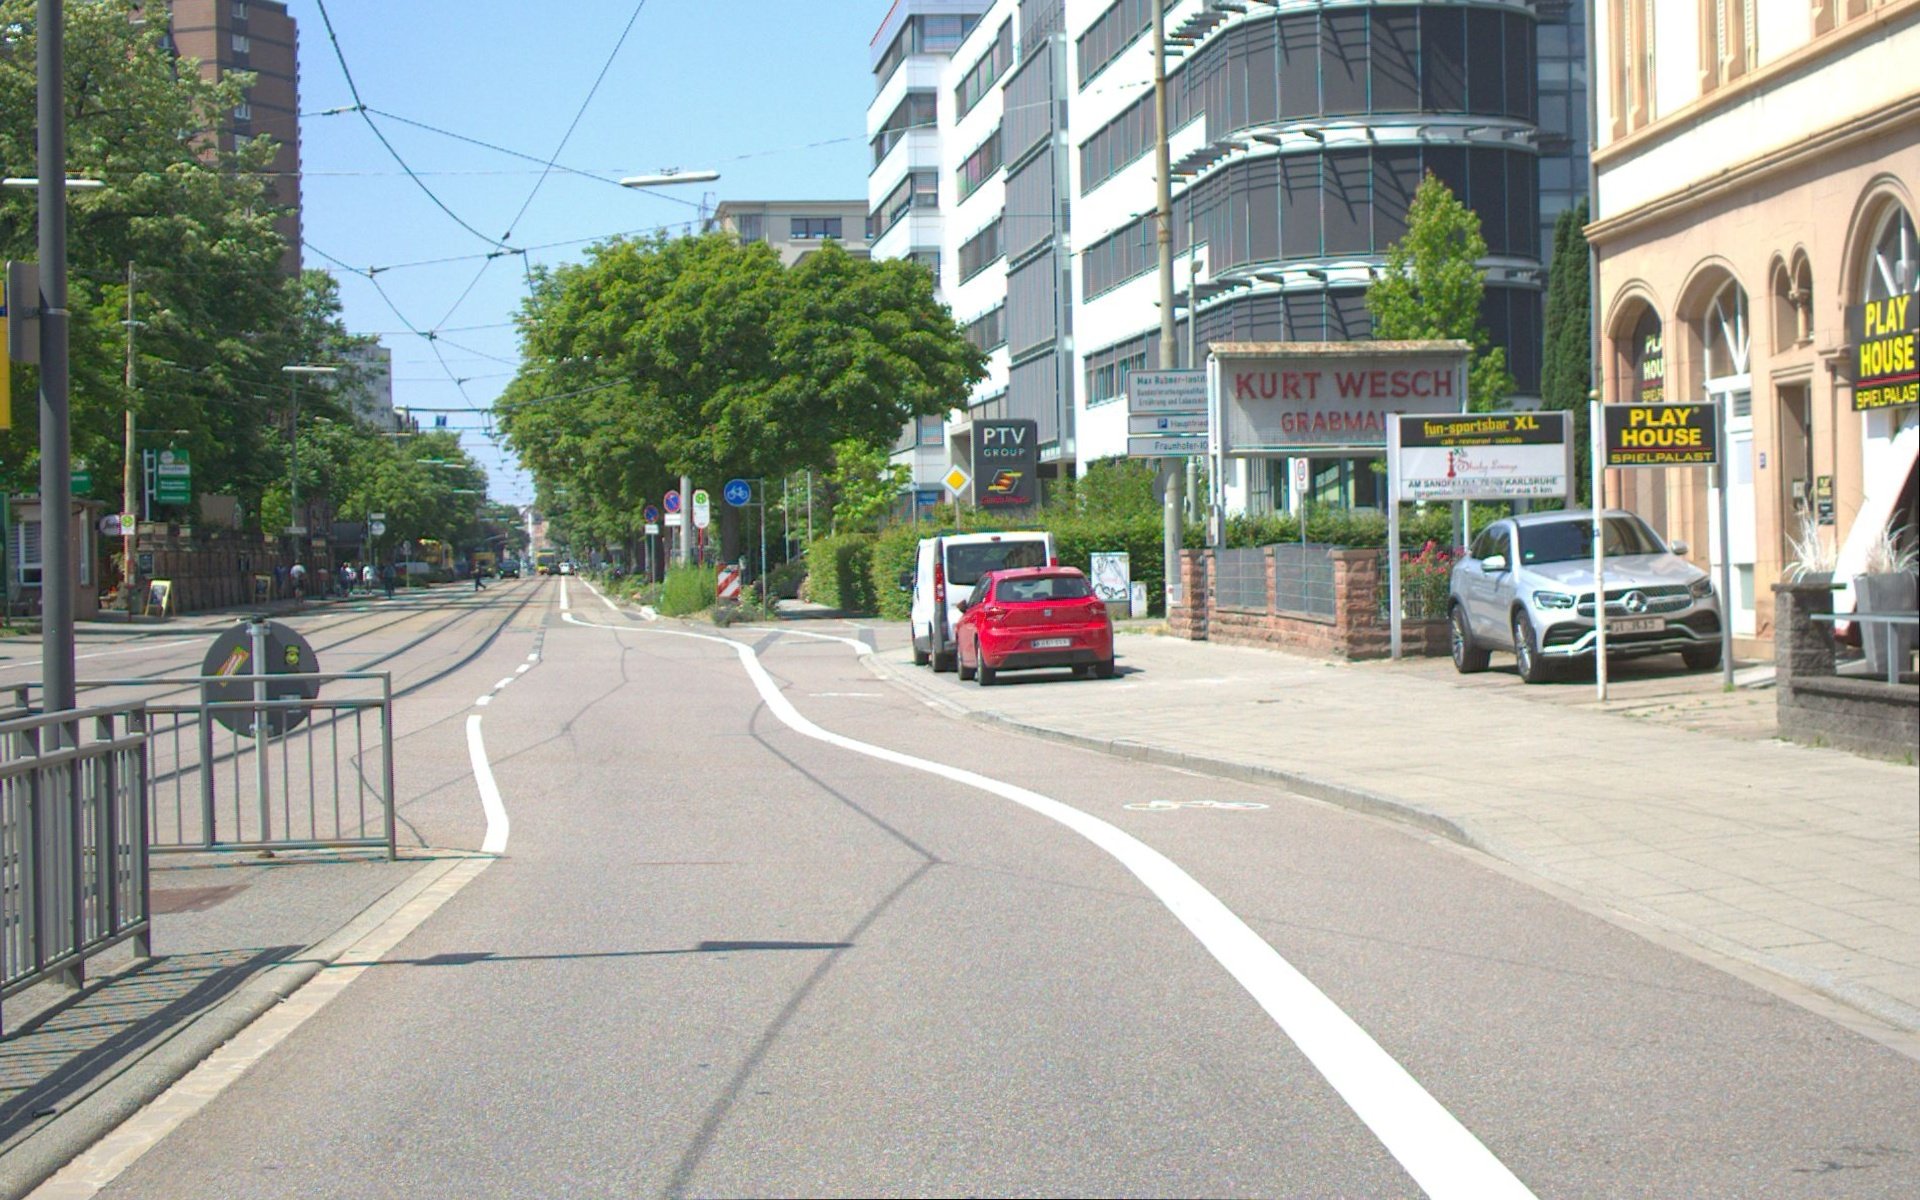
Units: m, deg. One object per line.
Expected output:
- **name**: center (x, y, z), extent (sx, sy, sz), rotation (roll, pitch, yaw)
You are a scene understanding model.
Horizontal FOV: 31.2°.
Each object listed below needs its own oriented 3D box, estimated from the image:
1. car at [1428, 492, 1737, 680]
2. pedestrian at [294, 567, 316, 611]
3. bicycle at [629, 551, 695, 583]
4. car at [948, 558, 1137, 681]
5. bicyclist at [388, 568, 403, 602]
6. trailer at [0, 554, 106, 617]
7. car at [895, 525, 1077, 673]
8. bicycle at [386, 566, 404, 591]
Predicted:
- **car**: center (6.094, -0.161, 34.222), extent (1.878, 1.619, 4.640), rotation (-4, 1, -3)
- **pedestrian**: center (-26.589, -0.433, 139.562), extent (0.814, 1.764, 0.925), rotation (-1, 0, -7)
- **bicycle**: center (-11.651, -1.290, 134.508), extent (2.510, 1.205, 0.648), rotation (-1, 0, -2)
- **car**: center (1.011, 0.218, 44.409), extent (1.993, 1.437, 4.017), rotation (-2, 1, -4)
- **bicyclist**: center (-28.285, -0.753, 172.265), extent (0.642, 1.674, 0.815), rotation (-1, 1, -7)
- **trailer**: center (-25.134, -0.403, 94.886), extent (2.829, 1.698, 1.621), rotation (-1, 1, -5)
- **car**: center (0.317, -0.056, 51.094), extent (1.993, 1.985, 5.516), rotation (-3, 1, -6)
- **bicycle**: center (-28.296, -1.078, 172.133), extent (0.701, 1.200, 2.241), rotation (-3, 1, -7)
